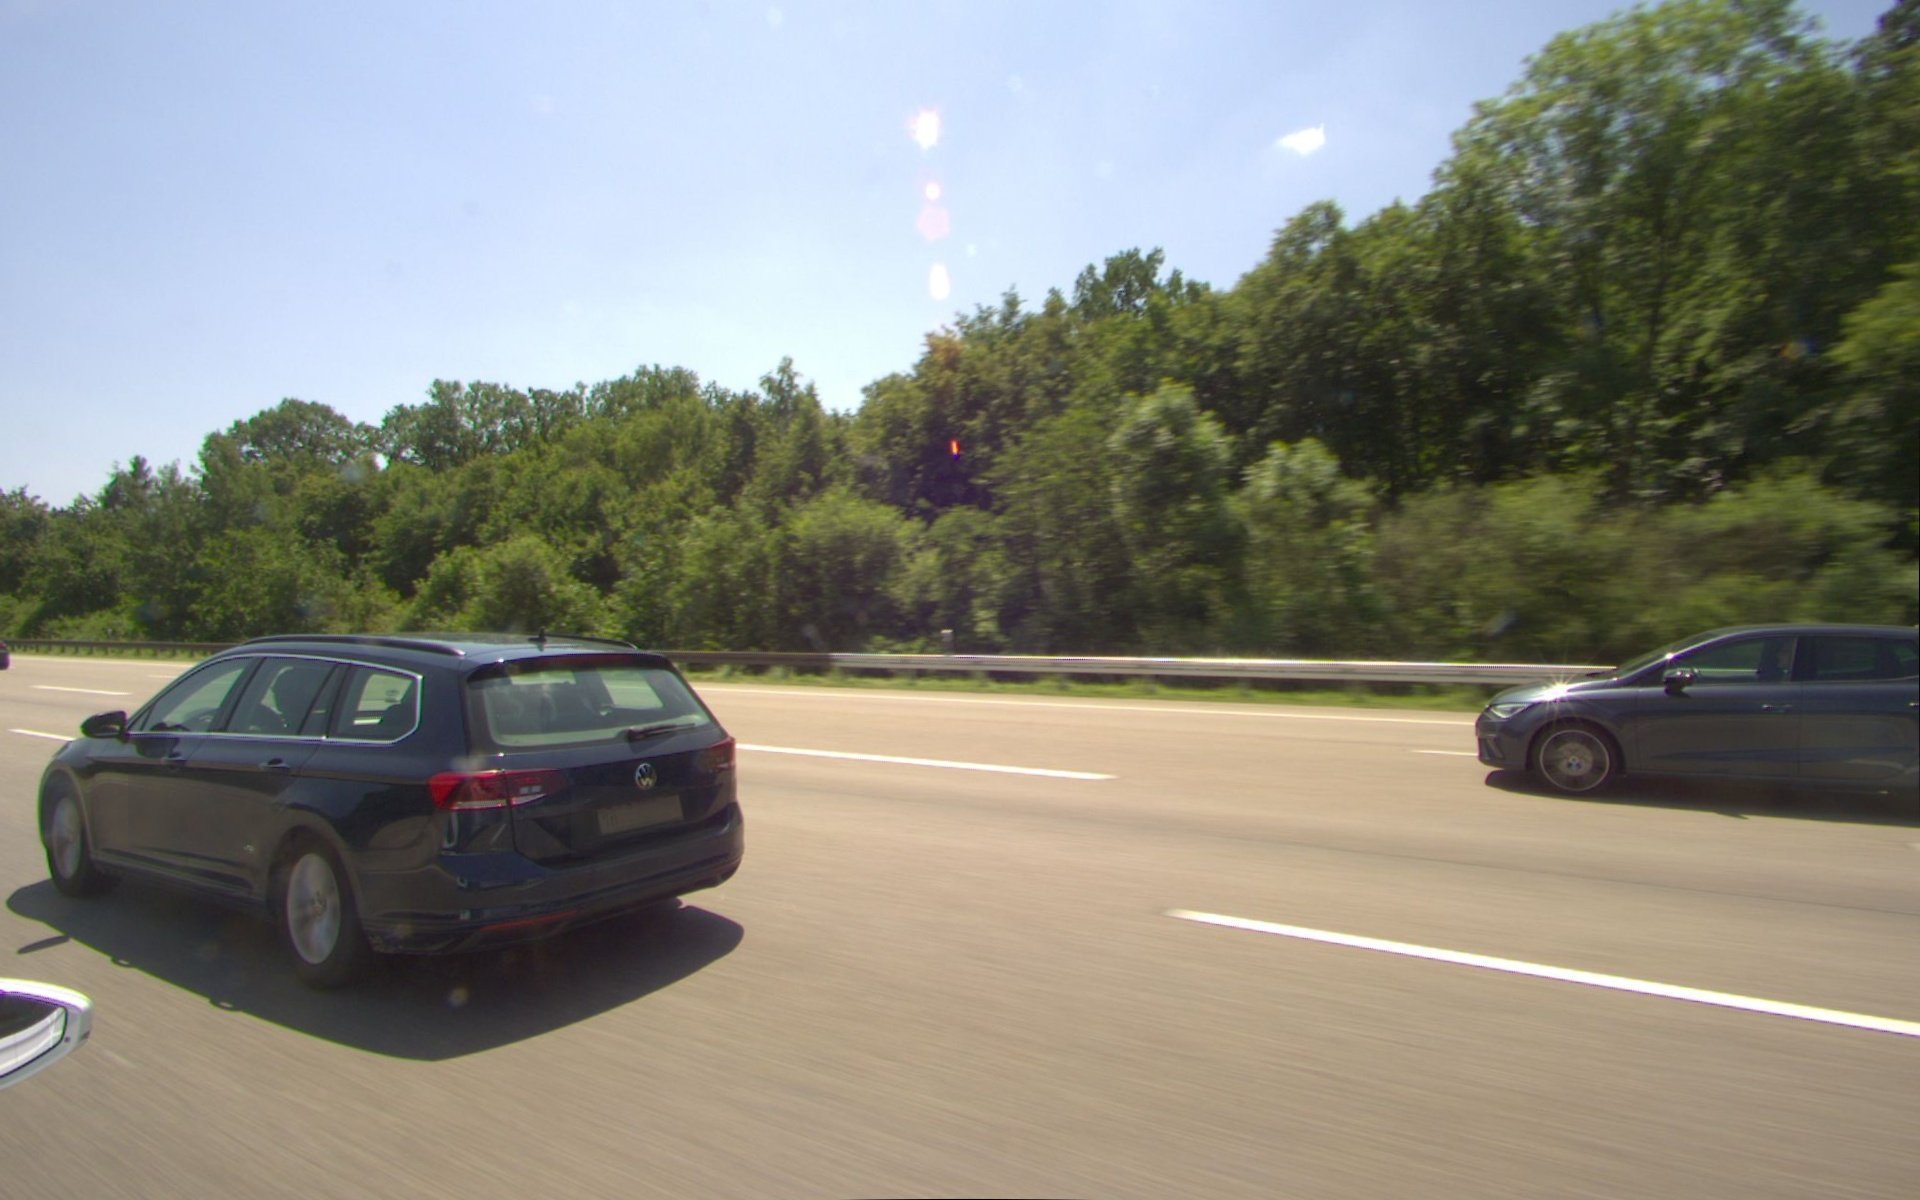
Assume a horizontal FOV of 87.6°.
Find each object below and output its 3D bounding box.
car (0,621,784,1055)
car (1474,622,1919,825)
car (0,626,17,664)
[{"bbox_3d":[-3.366,0.859,5.503,4.891,1.466,1.726,-1,0,33],"label":"car"},{"bbox_3d":[6.852,0.926,8.242,4.568,1.457,1.640,-1,-2,32],"label":"car"},{"bbox_3d":[-35.072,1.607,35.311,4.230,1.290,1.667,-2,-1,33],"label":"car"}]
